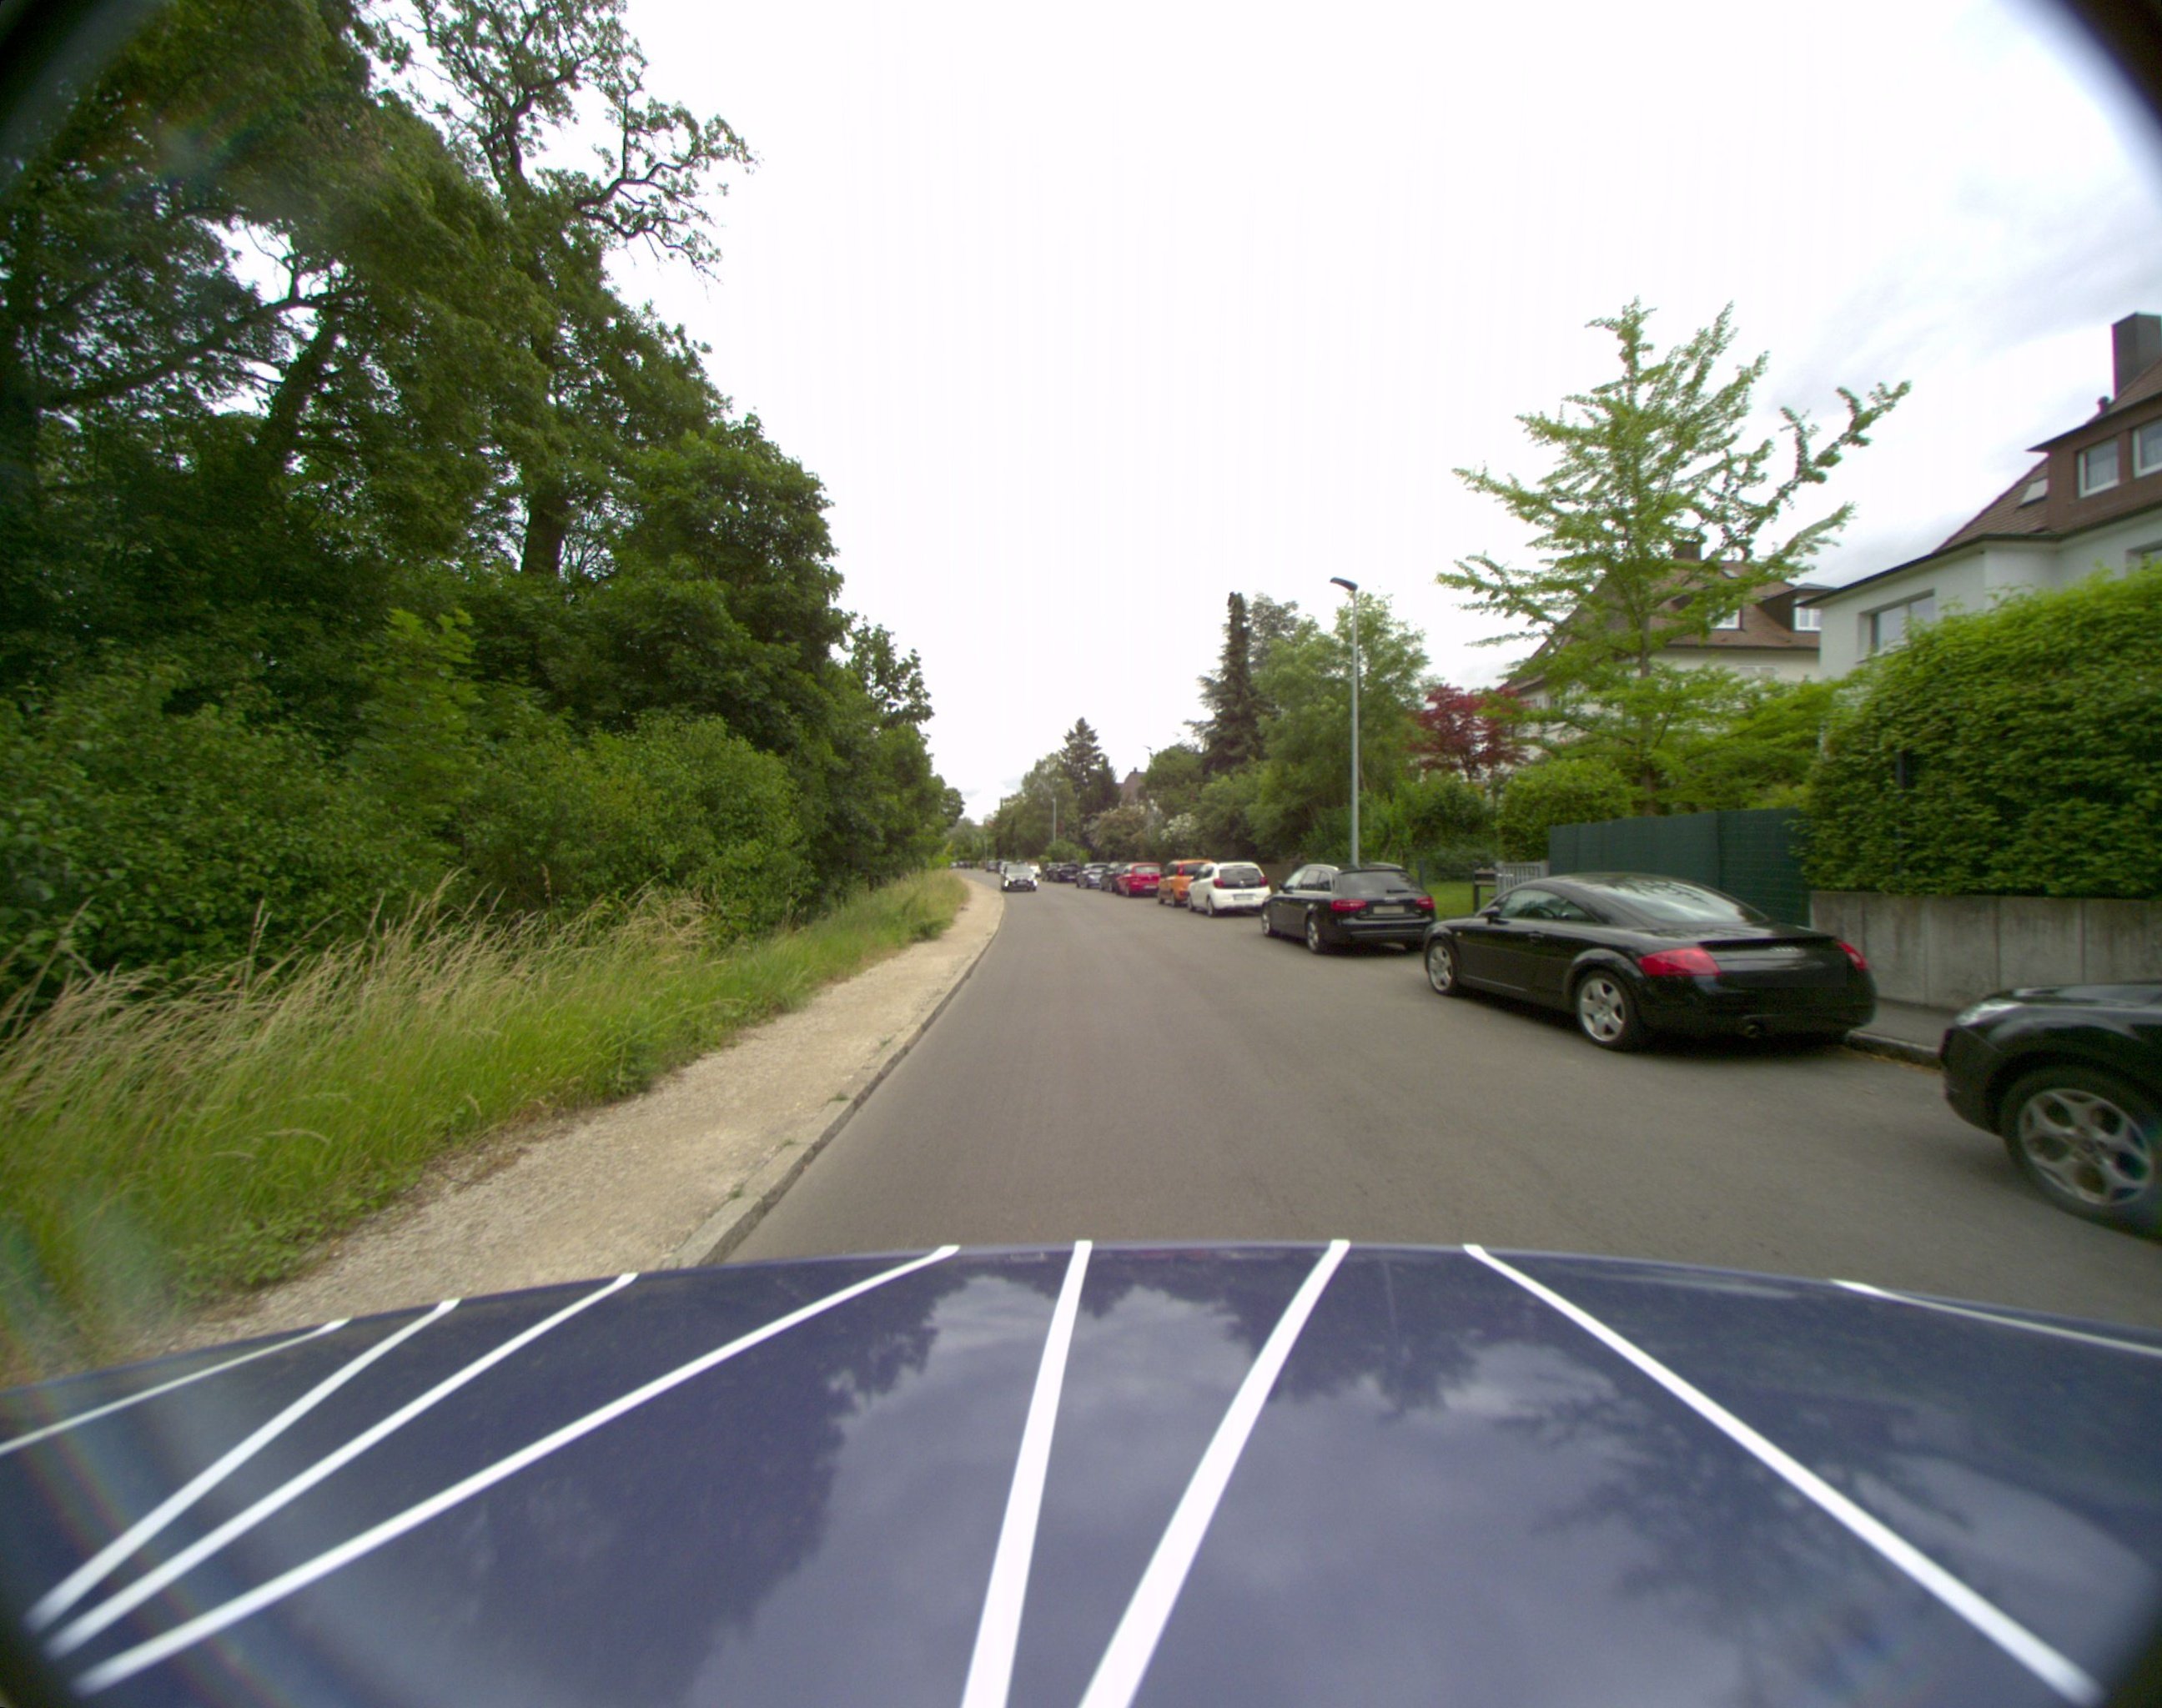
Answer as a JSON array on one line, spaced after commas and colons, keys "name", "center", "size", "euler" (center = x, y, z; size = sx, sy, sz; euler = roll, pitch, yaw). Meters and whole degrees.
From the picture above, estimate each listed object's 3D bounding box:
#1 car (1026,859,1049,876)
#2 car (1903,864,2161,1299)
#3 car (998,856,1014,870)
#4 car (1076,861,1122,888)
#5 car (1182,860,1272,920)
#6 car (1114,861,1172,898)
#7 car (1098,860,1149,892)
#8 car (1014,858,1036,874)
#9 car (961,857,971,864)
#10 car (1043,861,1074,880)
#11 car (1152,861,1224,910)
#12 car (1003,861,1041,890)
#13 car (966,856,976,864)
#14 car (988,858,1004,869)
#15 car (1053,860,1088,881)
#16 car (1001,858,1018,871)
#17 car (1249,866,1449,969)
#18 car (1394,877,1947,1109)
[{"name": "car", "center": [-4.265, 1.304, 74.524], "size": [1.713, 1.502, 3.942], "euler": [-1, 0, -12]}, {"name": "car", "center": [4.663, 0.815, 1.333], "size": [1.660, 1.524, 4.475], "euler": [-1, 0, 1]}, {"name": "car", "center": [-9.940, 1.114, 100.161], "size": [1.713, 1.789, 4.293], "euler": [-1, 0, -11]}, {"name": "car", "center": [0.962, 1.130, 43.479], "size": [1.713, 1.402, 4.156], "euler": [-1, 0, -12]}, {"name": "car", "center": [4.006, 0.928, 21.377], "size": [1.593, 1.505, 3.589], "euler": [-1, 0, -5]}, {"name": "car", "center": [2.660, 1.068, 33.607], "size": [1.712, 1.505, 4.361], "euler": [-1, 0, -7]}, {"name": "car", "center": [2.073, 1.061, 38.502], "size": [1.712, 1.505, 4.492], "euler": [-1, 0, -9]}, {"name": "car", "center": [-5.902, 1.238, 79.488], "size": [1.798, 1.654, 4.387], "euler": [-1, 0, -12]}, {"name": "car", "center": [-26.246, 1.520, 173.291], "size": [1.925, 1.670, 4.189], "euler": [-1, 0, -16]}, {"name": "car", "center": [-1.837, 1.246, 60.252], "size": [1.713, 1.408, 4.145], "euler": [-1, 0, -12]}, {"name": "car", "center": [3.548, 1.002, 25.781], "size": [1.548, 1.505, 3.642], "euler": [-1, 0, -7]}, {"name": "car", "center": [-3.272, 1.134, 41.640], "size": [1.712, 1.466, 4.191], "euler": [-1, 0, -10]}, {"name": "car", "center": [-23.598, 1.368, 162.810], "size": [1.924, 1.670, 4.191], "euler": [-1, 0, -11]}, {"name": "car", "center": [-12.636, 1.387, 112.622], "size": [1.802, 1.598, 4.725], "euler": [-1, 0, -12]}, {"name": "car", "center": [-0.798, 1.168, 54.871], "size": [1.713, 1.408, 4.128], "euler": [-1, 0, -12]}, {"name": "car", "center": [-8.883, 1.302, 94.367], "size": [1.712, 1.502, 4.550], "euler": [-1, 0, -10]}, {"name": "car", "center": [4.381, 0.951, 13.279], "size": [1.723, 1.376, 4.662], "euler": [-1, 0, -2]}, {"name": "car", "center": [4.693, 0.955, 6.979], "size": [1.716, 1.333, 4.106], "euler": [-2, 0, -4]}]
